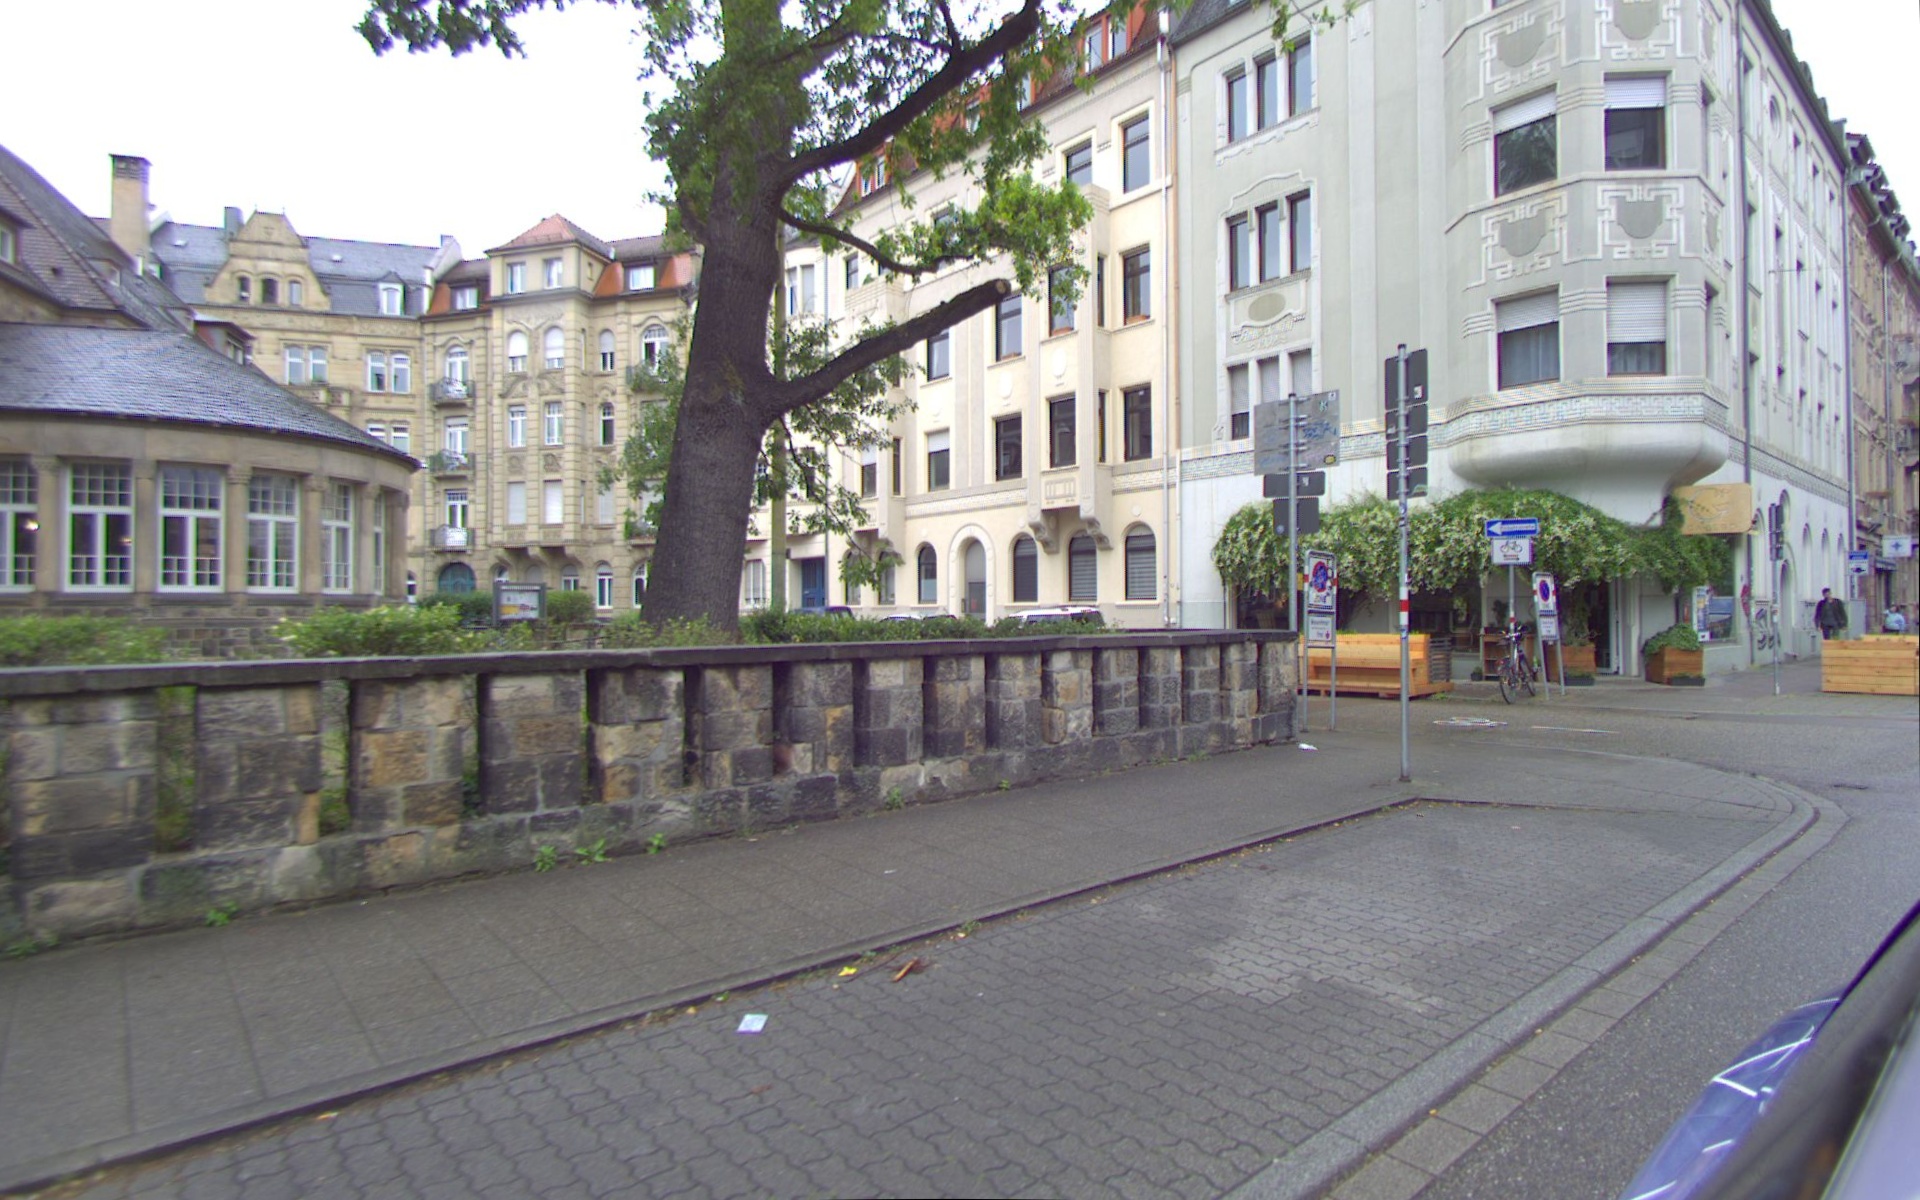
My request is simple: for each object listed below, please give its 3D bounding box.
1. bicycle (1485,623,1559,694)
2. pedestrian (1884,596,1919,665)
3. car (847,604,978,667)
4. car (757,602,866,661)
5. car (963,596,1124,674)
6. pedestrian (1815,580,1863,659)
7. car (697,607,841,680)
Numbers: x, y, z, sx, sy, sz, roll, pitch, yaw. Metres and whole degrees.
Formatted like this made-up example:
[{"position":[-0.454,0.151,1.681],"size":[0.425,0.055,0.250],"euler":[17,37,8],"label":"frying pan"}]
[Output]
[{"position":[9.364,0.944,16.840],"size":[1.888,0.991,0.452],"euler":[-4,2,-42],"label":"bicycle"},{"position":[28.696,0.915,30.747],"size":[0.408,2.039,0.826],"euler":[-2,0,-40],"label":"pedestrian"},{"position":[-1.445,1.000,29.744],"size":[1.784,1.608,3.847],"euler":[-4,2,-41],"label":"car"},{"position":[-4.963,0.997,33.503],"size":[1.783,1.801,3.847],"euler":[-1,0,-41],"label":"car"},{"position":[2.059,0.837,25.637],"size":[1.784,1.719,3.846],"euler":[-4,2,-42],"label":"car"},{"position":[22.308,0.485,25.683],"size":[0.408,1.975,0.826],"euler":[-2,0,-40],"label":"pedestrian"},{"position":[-4.575,0.971,23.899],"size":[1.684,1.576,3.848],"euler":[2,-2,-40],"label":"car"}]
